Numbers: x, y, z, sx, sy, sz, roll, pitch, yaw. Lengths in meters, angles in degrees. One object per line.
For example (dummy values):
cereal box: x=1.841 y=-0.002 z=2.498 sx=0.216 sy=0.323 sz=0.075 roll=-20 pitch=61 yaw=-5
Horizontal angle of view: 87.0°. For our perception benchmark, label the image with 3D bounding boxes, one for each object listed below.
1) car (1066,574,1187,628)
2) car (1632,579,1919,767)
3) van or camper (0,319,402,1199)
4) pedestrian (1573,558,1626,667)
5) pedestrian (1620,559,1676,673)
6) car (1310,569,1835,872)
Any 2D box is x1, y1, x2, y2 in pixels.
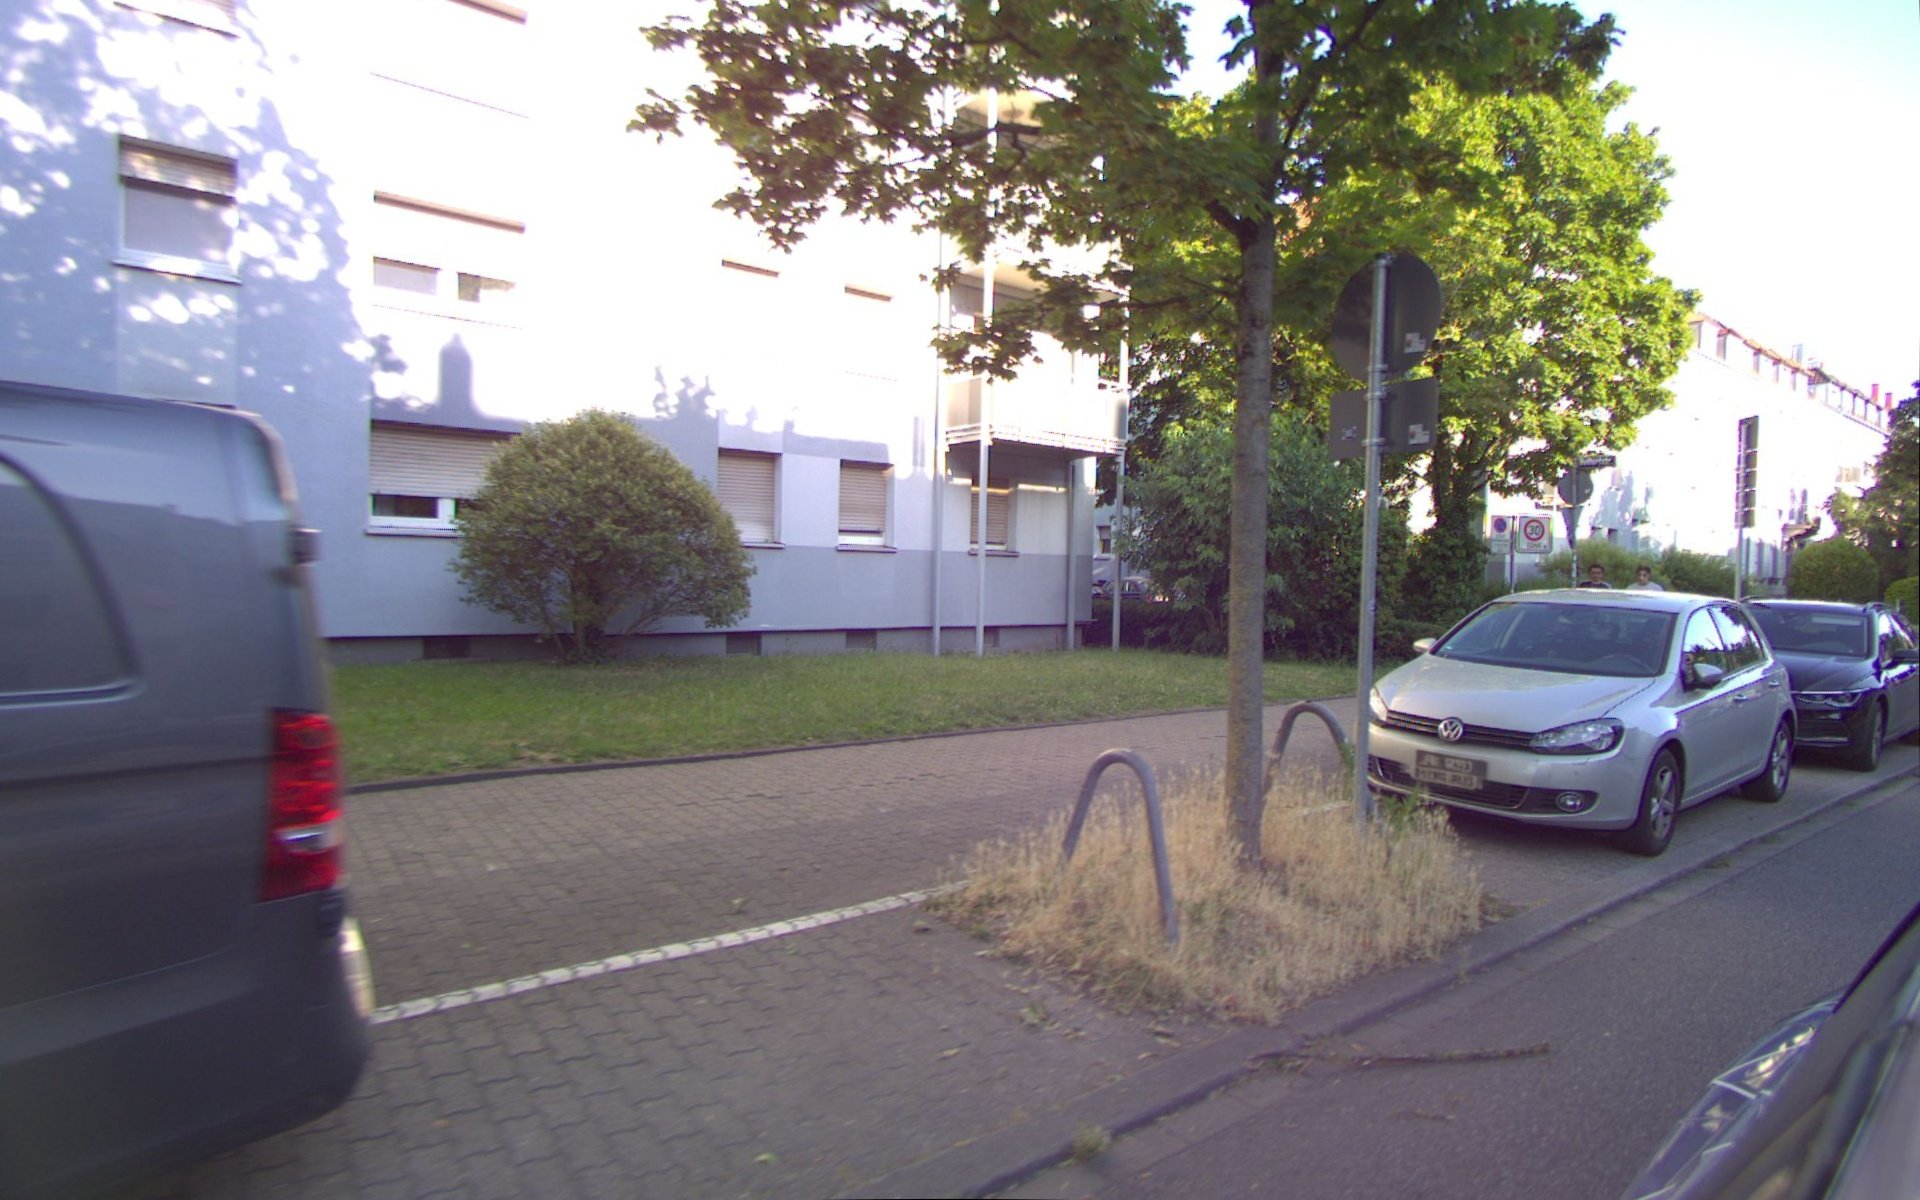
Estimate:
car: x=4.348 y=0.004 z=26.699 sx=1.450 sy=1.265 sz=2.954 roll=0 pitch=3 yaw=-37
car: x=8.576 y=0.589 z=10.201 sx=4.260 sy=1.461 sz=1.739 roll=0 pitch=3 yaw=-39
van or camper: x=-3.803 y=0.390 z=1.294 sx=5.161 sy=1.865 sz=2.000 roll=1 pitch=1 yaw=-37
pedestrian: x=10.524 y=0.189 z=16.655 sx=0.398 sy=1.749 sz=0.593 roll=0 pitch=2 yaw=-37
pedestrian: x=10.845 y=0.240 z=15.963 sx=0.398 sy=1.749 sz=0.593 roll=0 pitch=2 yaw=-37
car: x=4.433 y=0.596 z=7.054 sx=4.226 sy=1.461 sz=1.739 roll=0 pitch=3 yaw=-39
